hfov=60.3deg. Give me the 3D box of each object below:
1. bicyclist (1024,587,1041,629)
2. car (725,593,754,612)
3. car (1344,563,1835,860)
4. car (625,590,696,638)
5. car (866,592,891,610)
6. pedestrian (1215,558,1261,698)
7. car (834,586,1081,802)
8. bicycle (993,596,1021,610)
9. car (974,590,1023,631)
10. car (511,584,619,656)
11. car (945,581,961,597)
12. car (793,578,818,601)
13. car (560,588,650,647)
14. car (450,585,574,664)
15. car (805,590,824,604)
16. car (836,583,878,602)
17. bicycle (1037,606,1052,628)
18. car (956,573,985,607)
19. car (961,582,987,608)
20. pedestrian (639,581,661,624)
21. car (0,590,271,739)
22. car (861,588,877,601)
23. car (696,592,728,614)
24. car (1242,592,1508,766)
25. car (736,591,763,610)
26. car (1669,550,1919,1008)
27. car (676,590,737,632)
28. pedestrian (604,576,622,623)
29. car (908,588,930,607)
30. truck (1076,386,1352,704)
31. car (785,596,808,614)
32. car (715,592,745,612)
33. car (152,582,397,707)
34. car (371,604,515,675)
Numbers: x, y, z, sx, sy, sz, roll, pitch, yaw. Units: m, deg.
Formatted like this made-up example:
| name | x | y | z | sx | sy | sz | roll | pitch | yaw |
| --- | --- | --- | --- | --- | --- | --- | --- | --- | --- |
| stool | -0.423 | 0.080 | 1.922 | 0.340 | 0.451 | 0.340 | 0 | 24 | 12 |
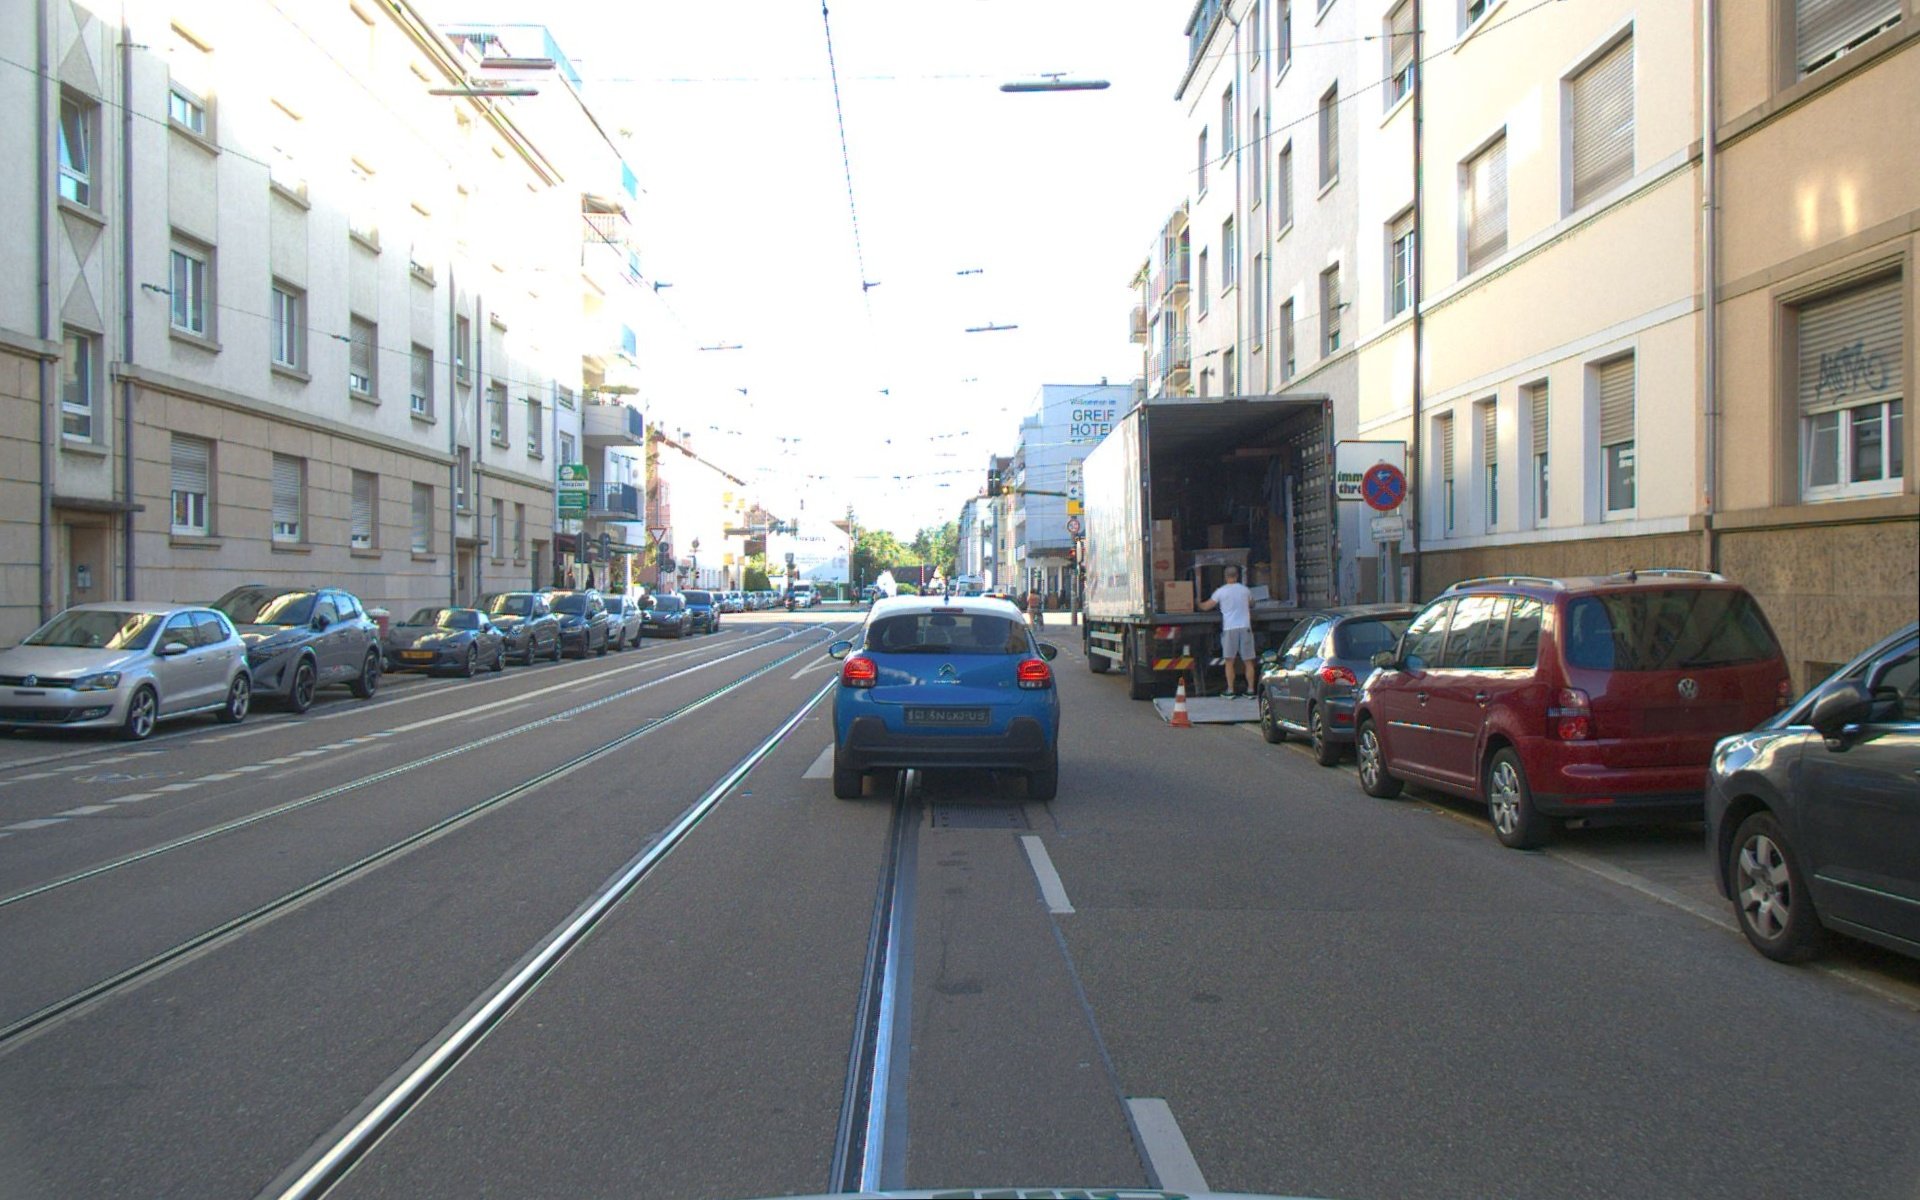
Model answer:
| name | x | y | z | sx | sy | sz | roll | pitch | yaw |
| --- | --- | --- | --- | --- | --- | --- | --- | --- | --- |
| bicyclist | 2.930 | 0.309 | 66.899 | 0.711 | 1.674 | 0.790 | 0 | 0 | 2 |
| car | -17.789 | 0.195 | 133.557 | 1.872 | 1.523 | 3.999 | 0 | 0 | -2 |
| car | 4.077 | 0.615 | 11.520 | 1.560 | 1.637 | 4.244 | -1 | 0 | -4 |
| car | -10.241 | 0.465 | 56.782 | 1.665 | 1.536 | 4.311 | 1 | 0 | -1 |
| car | -6.826 | 0.069 | 138.029 | 1.953 | 1.534 | 3.999 | 0 | 0 | -1 |
| pedestrian | 3.630 | 0.362 | 21.599 | 0.502 | 1.806 | 0.415 | -1 | 0 | -1 |
| car | -0.143 | 0.648 | 13.590 | 1.709 | 1.488 | 3.997 | 1 | 0 | -4 |
| bicycle | 3.240 | 0.187 | 113.889 | 1.834 | 0.973 | 0.702 | 0 | 0 | 3 |
| car | 1.421 | 0.350 | 60.335 | 1.702 | 1.445 | 4.001 | 0 | 0 | 2 |
| car | -9.692 | 0.478 | 40.893 | 1.665 | 1.644 | 4.243 | 1 | 0 | -1 |
| car | -0.764 | -1.207 | 178.341 | 1.654 | 1.646 | 4.000 | 1 | 0 | 0 |
| car | -15.631 | -1.025 | 167.259 | 2.162 | 2.290 | 4.675 | 0 | 0 | -2 |
| car | -9.967 | 0.472 | 46.677 | 1.665 | 1.536 | 4.385 | 1 | 0 | -2 |
| car | -9.863 | 0.522 | 36.688 | 1.665 | 1.596 | 3.999 | 1 | 0 | -1 |
| car | -16.949 | -0.337 | 192.248 | 1.980 | 1.552 | 3.999 | 0 | 0 | -2 |
| car | -9.137 | -0.664 | 146.469 | 1.796 | 1.668 | 3.945 | -1 | 0 | -38 |
| bicycle | 3.410 | 0.687 | 66.799 | 0.488 | 0.879 | 1.749 | 0 | 0 | 0 |
| car | 0.716 | -0.707 | 119.374 | 1.953 | 2.366 | 3.999 | 1 | 0 | -1 |
| car | 0.971 | -0.347 | 114.445 | 1.697 | 1.780 | 3.213 | 1 | 0 | -1 |
| pedestrian | -11.694 | 0.091 | 62.356 | 0.683 | 1.575 | 0.721 | 0 | 1 | 2 |
| car | -9.565 | 0.666 | 18.892 | 1.665 | 1.440 | 3.999 | 3 | 0 | -1 |
| car | -11.967 | -0.729 | 216.880 | 1.980 | 1.552 | 3.999 | 0 | 0 | -2 |
| car | -17.441 | 0.212 | 116.396 | 1.873 | 1.458 | 3.997 | 0 | 0 | -3 |
| car | 4.015 | 0.688 | 16.595 | 1.550 | 1.489 | 3.879 | -1 | 0 | -2 |
| car | -17.772 | 0.015 | 139.700 | 1.872 | 1.523 | 3.999 | 0 | 0 | -2 |
| car | 4.395 | 0.637 | 5.812 | 1.754 | 1.680 | 4.364 | -1 | 0 | -3 |
| car | -9.656 | 0.411 | 63.287 | 1.709 | 1.536 | 3.999 | 1 | 0 | -1 |
| pedestrian | -15.287 | -0.015 | 72.879 | 0.673 | 2.049 | 0.486 | 0 | 0 | -4 |
| car | -3.665 | -0.212 | 148.332 | 1.953 | 1.646 | 3.999 | 1 | 0 | -1 |
| truck | 3.756 | -0.772 | 27.621 | 2.801 | 4.144 | 11.779 | -1 | 0 | 0 |
| car | -14.745 | 0.456 | 149.004 | 1.813 | 1.601 | 4.399 | 0 | 0 | -3 |
| car | -17.577 | 0.144 | 126.761 | 1.872 | 1.523 | 3.999 | 0 | 0 | -2 |
| car | -9.560 | 0.550 | 23.466 | 1.664 | 1.595 | 4.405 | 0 | 0 | -1 |
| car | -9.814 | 0.711 | 31.651 | 1.665 | 1.237 | 3.784 | 1 | 0 | -2 |
